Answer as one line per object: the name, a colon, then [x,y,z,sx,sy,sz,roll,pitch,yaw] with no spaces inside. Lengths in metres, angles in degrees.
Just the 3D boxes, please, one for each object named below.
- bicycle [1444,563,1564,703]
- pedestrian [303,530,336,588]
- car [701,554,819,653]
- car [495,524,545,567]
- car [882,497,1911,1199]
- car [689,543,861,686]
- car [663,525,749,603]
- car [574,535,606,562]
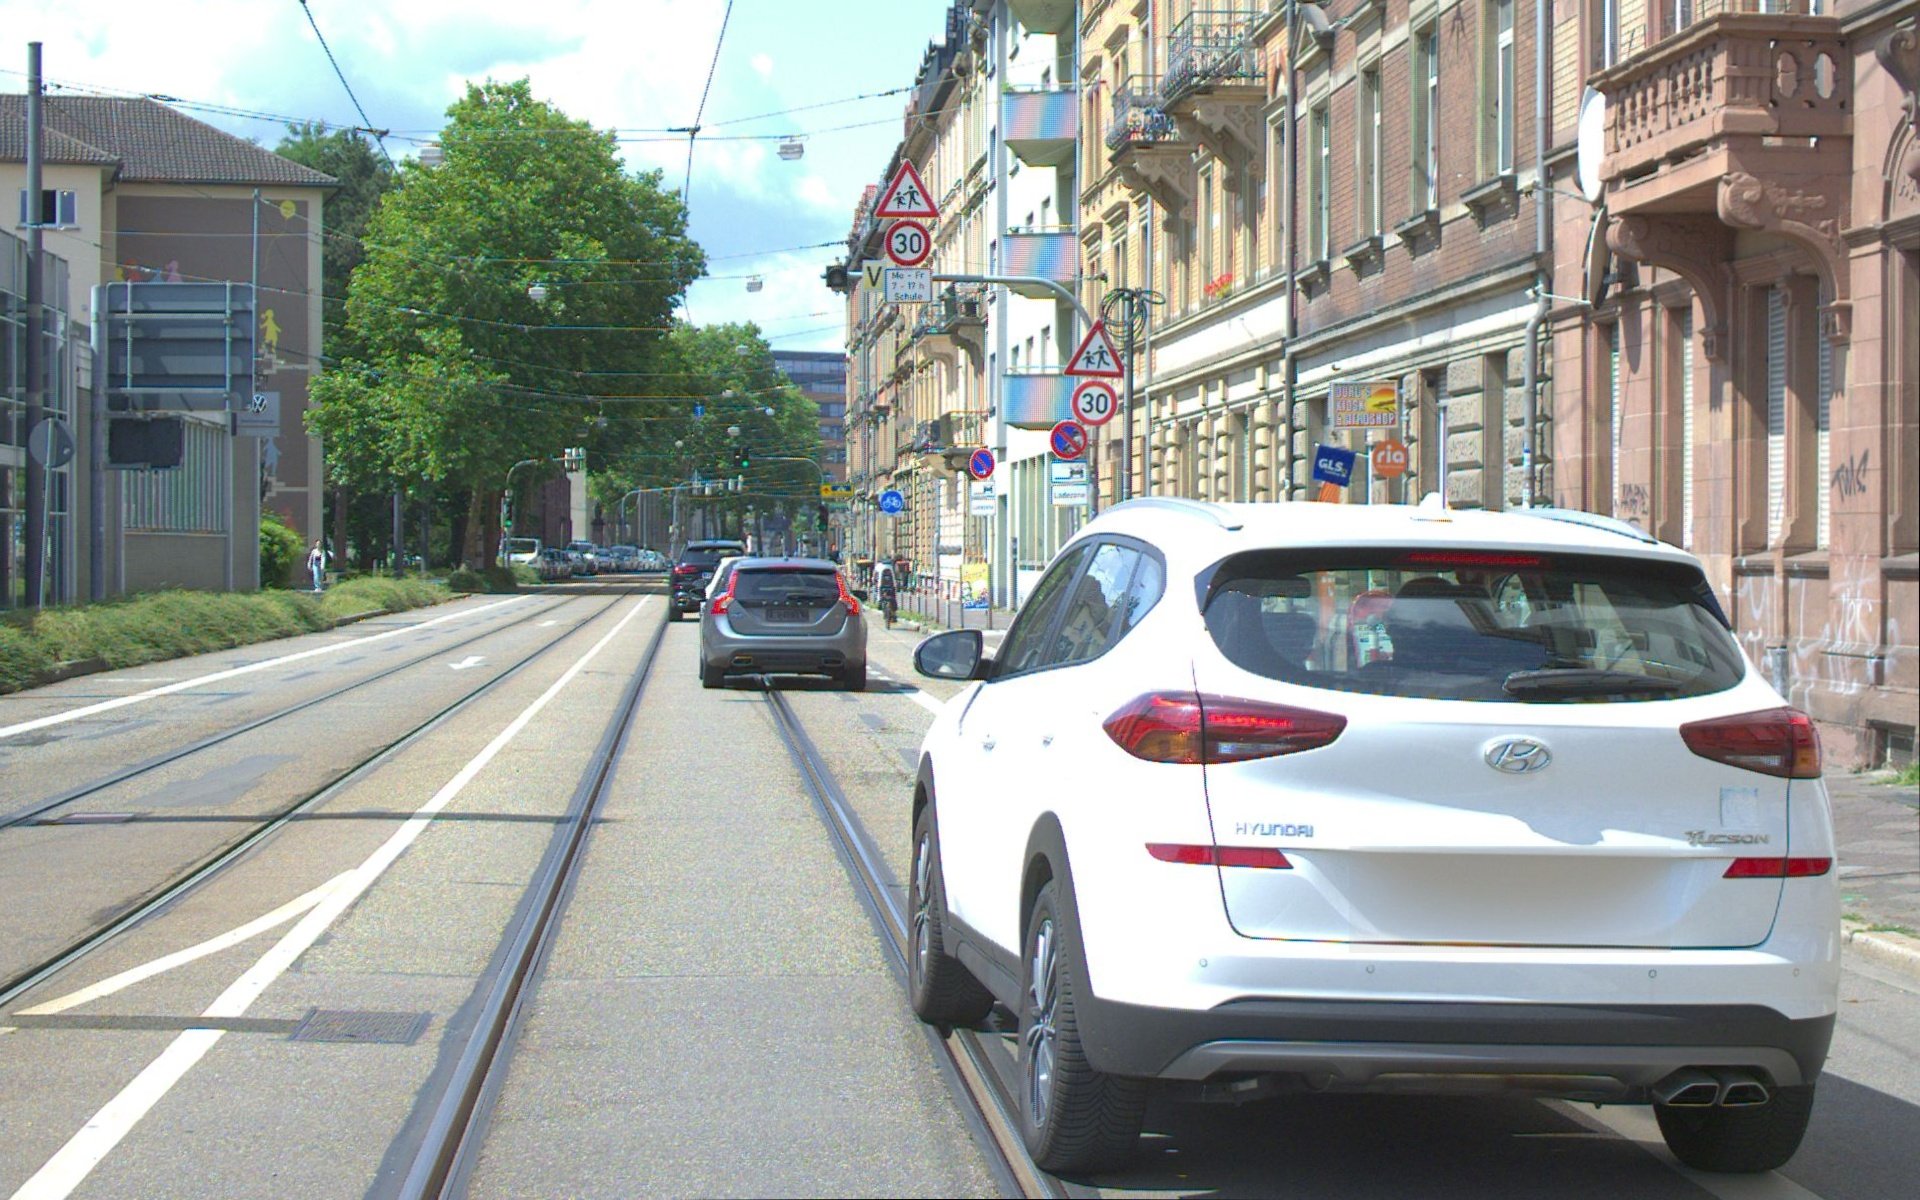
bicycle: [4.808,0.269,30.514,0.586,1.174,2.205,0,1,-3]
pedestrian: [-20.724,-1.334,111.254,0.880,1.859,1.081,-1,1,-4]
car: [-3.241,0.025,55.192,1.814,1.519,3.956,0,1,-4]
car: [-19.655,-2.454,153.795,1.950,1.888,4.566,1,1,-4]
car: [0.909,0.552,9.492,1.852,1.628,4.182,0,1,-7]
car: [-2.052,0.125,39.047,1.814,1.519,4.085,0,1,-1]
car: [-5.570,-0.799,75.317,1.814,1.656,4.086,0,1,-4]
car: [-23.461,-3.266,217.881,1.949,1.626,4.001,1,1,-7]
